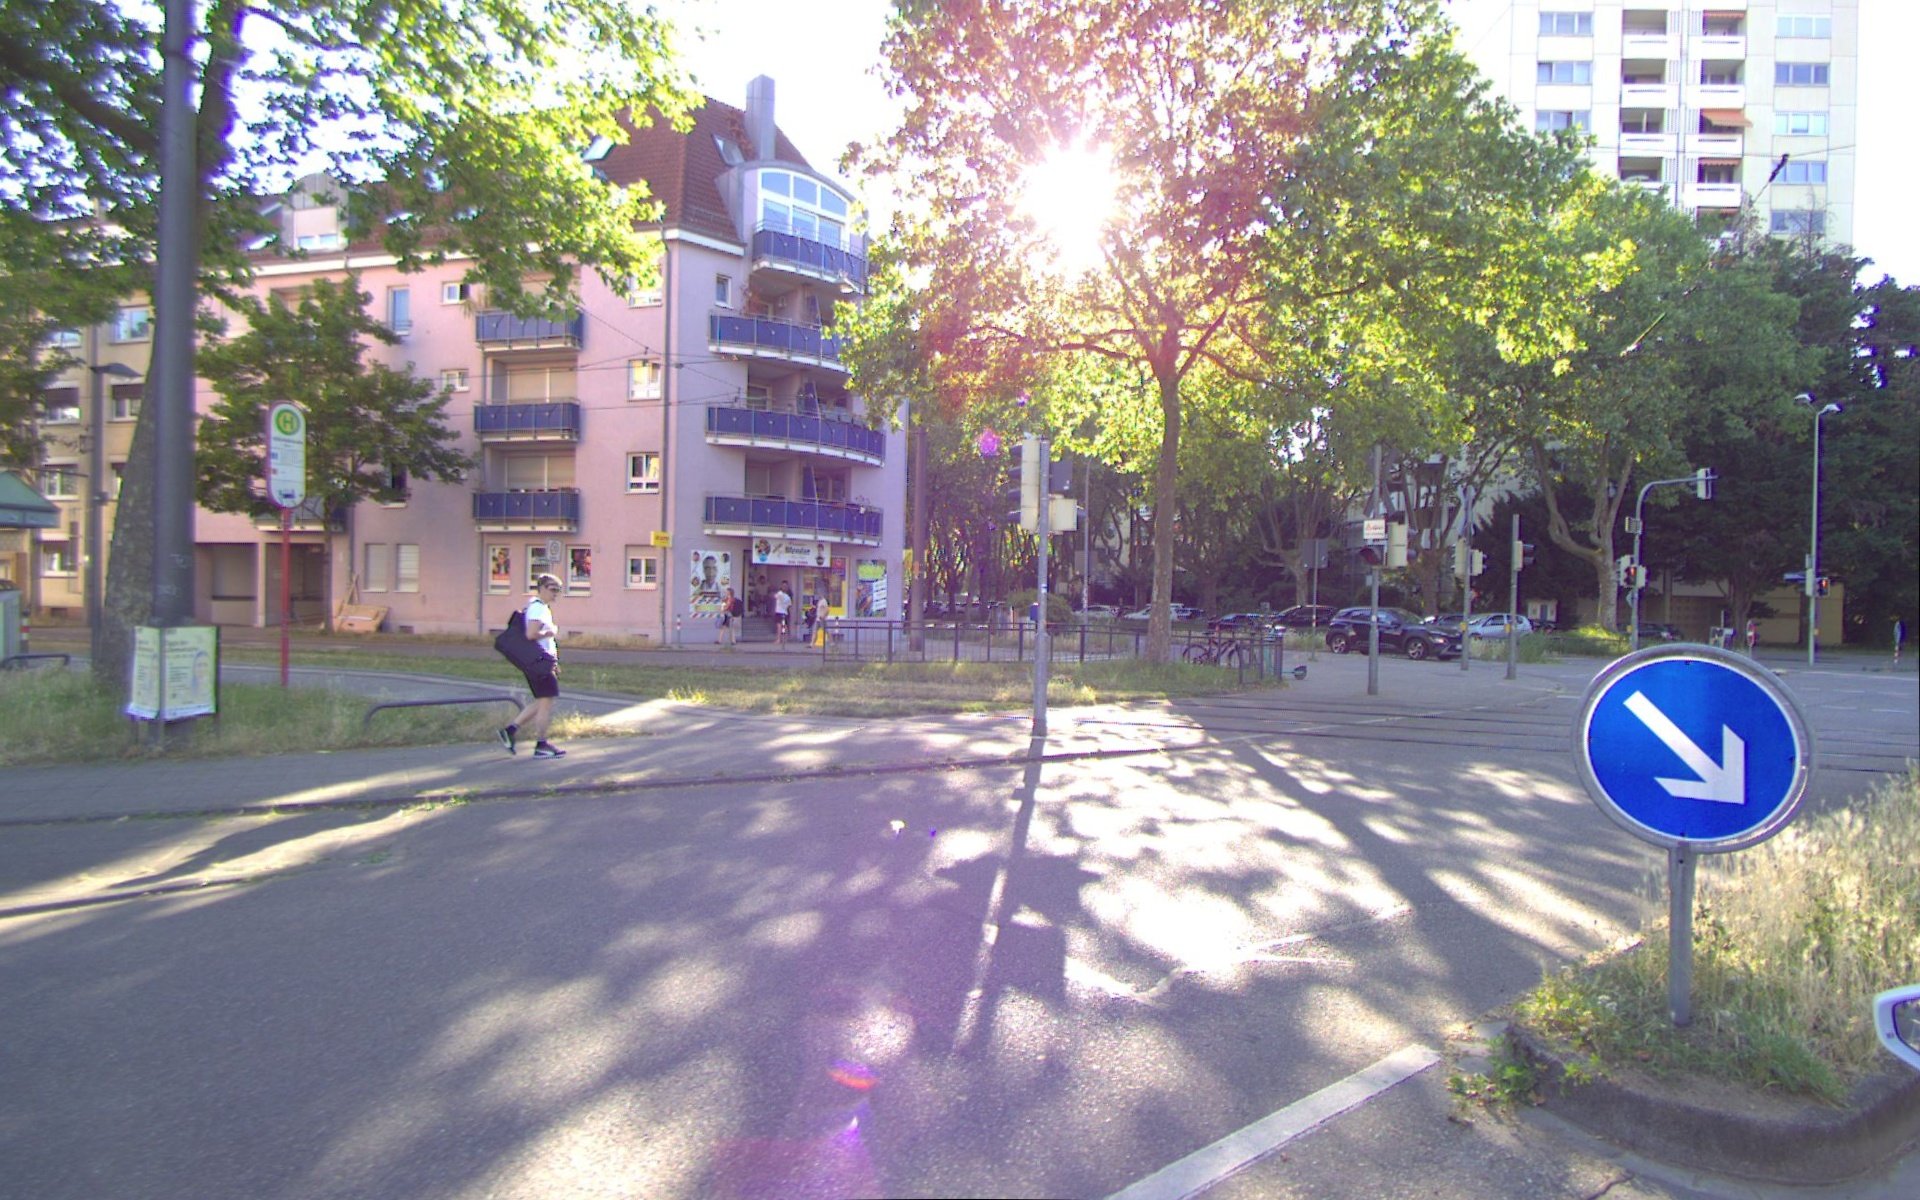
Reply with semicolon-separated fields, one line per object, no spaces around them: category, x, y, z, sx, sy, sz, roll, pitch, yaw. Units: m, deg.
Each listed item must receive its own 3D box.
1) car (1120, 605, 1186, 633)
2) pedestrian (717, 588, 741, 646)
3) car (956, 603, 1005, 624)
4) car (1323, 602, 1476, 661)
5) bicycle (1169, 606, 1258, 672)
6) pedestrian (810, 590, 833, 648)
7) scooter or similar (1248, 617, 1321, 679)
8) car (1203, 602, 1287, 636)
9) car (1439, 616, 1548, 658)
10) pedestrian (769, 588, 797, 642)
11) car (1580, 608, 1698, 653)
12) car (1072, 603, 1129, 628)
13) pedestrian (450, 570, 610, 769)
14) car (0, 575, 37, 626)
car;12.529;1.214;65.357;3.921;1.617;1.738;2;0;0
pedestrian;-6.771;0.498;29.464;0.609;1.689;0.549;2;0;-15
car;1.774;1.151;85.761;3.919;1.617;1.739;2;0;10
car;13.389;0.929;30.807;1.722;1.617;3.959;2;0;-36
bicycle;5.447;0.817;21.631;1.811;1.324;0.382;2;0;34
pedestrian;-4.111;0.561;29.811;0.608;1.689;0.925;2;0;-8
scooter or similar;6.969;1.031;21.588;1.412;1.255;0.414;2;0;9
car;15.018;0.988;53.050;3.921;1.617;1.738;2;0;0
car;22.956;1.595;43.339;3.732;1.617;1.738;2;0;0
pedestrian;-5.659;0.481;32.118;0.610;1.689;0.549;2;0;38
car;30.708;1.347;45.542;1.971;1.798;3.979;2;0;-22
car;10.226;1.126;73.276;3.921;1.617;1.738;2;0;0
pedestrian;-4.116;0.623;9.639;0.889;1.760;1.084;2;0;38
car;-34.402;-0.042;34.676;4.029;1.728;1.940;2;0;17
